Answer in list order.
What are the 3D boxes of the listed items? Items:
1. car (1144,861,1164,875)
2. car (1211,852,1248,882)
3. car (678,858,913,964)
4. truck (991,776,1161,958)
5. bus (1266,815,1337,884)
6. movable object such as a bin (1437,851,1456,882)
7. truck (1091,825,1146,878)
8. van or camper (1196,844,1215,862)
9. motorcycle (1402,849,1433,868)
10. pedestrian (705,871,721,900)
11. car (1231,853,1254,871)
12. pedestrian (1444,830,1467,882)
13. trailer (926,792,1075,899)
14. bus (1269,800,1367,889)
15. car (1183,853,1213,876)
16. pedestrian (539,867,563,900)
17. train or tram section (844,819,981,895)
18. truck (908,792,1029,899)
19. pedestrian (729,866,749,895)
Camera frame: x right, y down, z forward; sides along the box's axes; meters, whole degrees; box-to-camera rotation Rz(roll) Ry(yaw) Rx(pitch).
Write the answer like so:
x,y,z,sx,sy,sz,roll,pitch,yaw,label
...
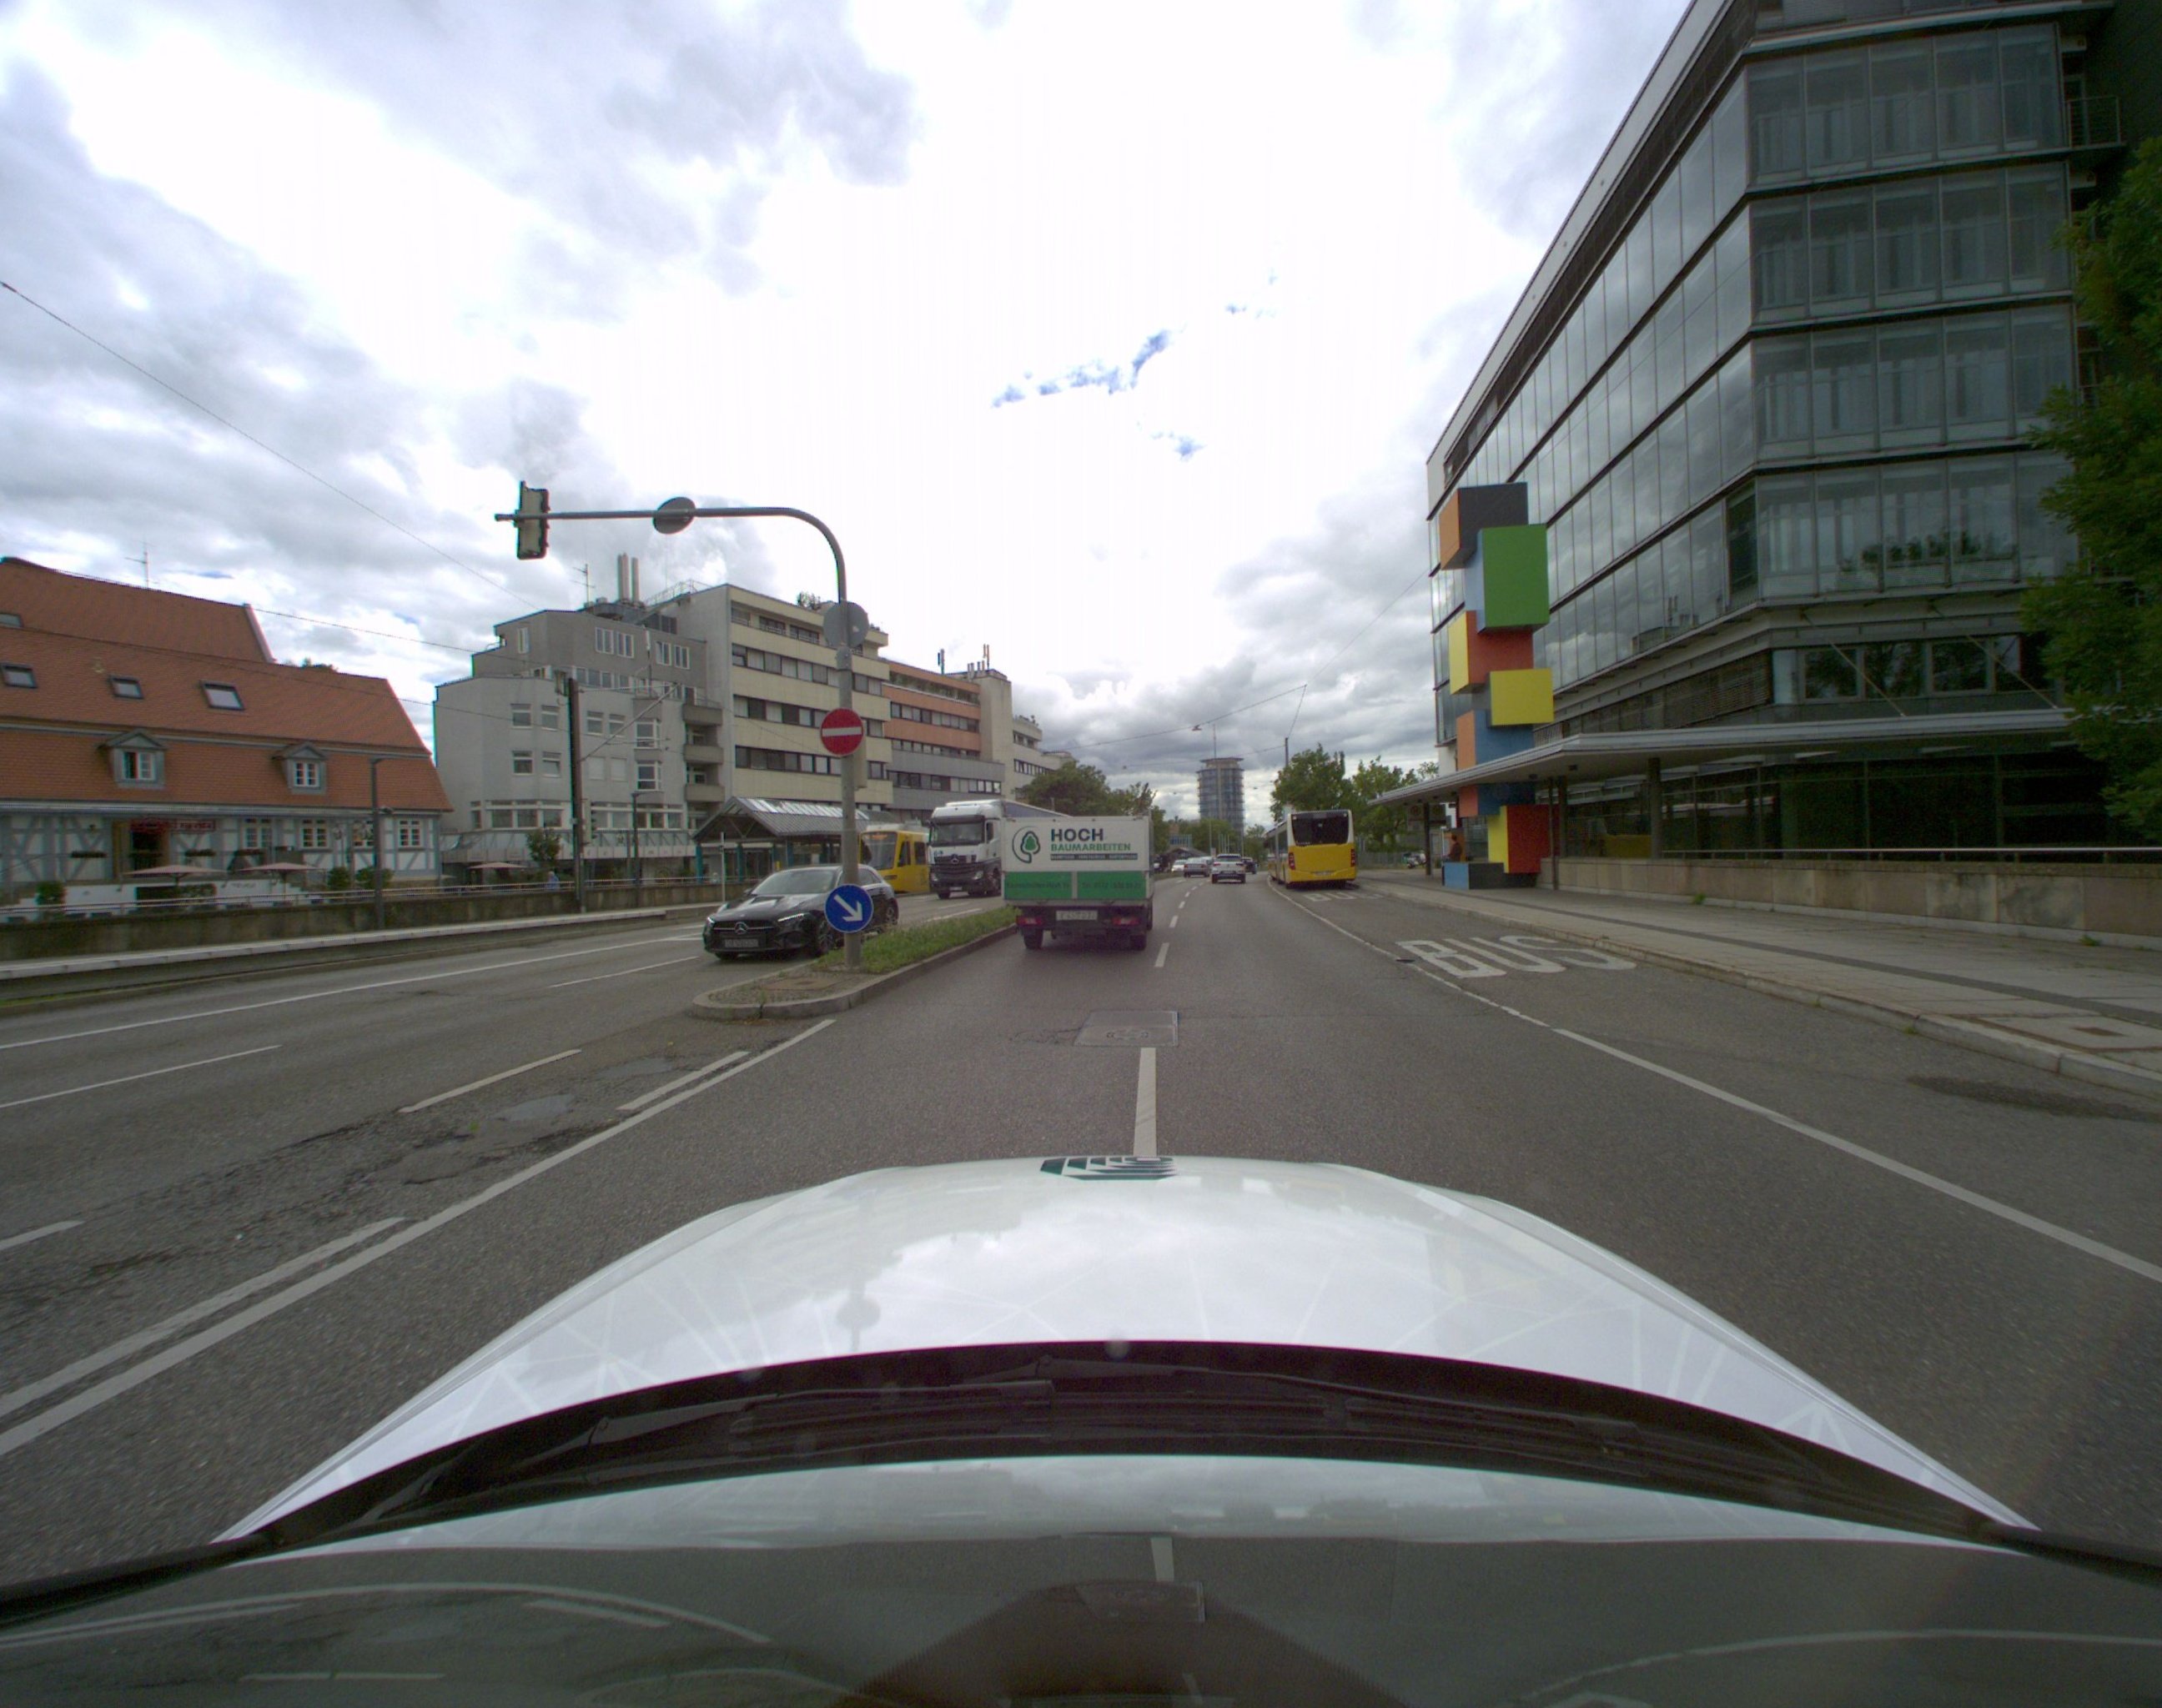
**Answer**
x,y,z,sx,sy,sz,roll,pitch,yaw,label
7.556,1.412,84.234,1.495,1.345,3.962,-4,-1,12,car
8.140,0.649,44.683,1.856,1.505,4.787,-2,0,10,car
-4.619,0.833,14.122,1.984,1.459,4.780,-2,0,5,car
0.232,0.194,15.128,2.459,2.611,6.557,-1,0,5,truck
11.633,-0.184,43.837,2.963,3.241,9.895,1,0,11,bus
12.336,0.410,27.491,0.417,1.029,0.534,-2,0,8,movable object such as a bin
3.227,-0.209,66.983,2.919,3.958,9.194,-2,0,12,truck
18.638,-0.106,122.051,1.979,2.598,6.140,-4,-1,15,van or camper
20.660,0.259,50.041,0.824,1.115,1.732,-2,0,-17,motorcycle
-21.006,1.784,46.480,0.647,1.583,0.601,-2,0,-2,pedestrian
14.398,0.670,72.830,1.856,1.505,4.787,-2,0,10,car
12.725,0.055,27.669,0.505,1.735,0.574,-2,-1,8,pedestrian
-3.371,-0.407,40.699,3.082,4.269,14.893,-2,0,11,trailer
9.992,-0.319,35.381,3.017,3.236,9.364,-3,-1,10,bus
8.432,0.745,58.390,1.856,1.505,4.787,-2,0,10,car
-25.945,1.432,39.893,0.643,1.583,0.704,-2,0,24,pedestrian
-8.837,0.124,45.093,2.739,3.585,12.042,-2,0,12,train or tram section
-4.586,-0.338,34.664,3.071,4.022,6.175,-2,0,11,truck
-20.780,1.586,49.475,0.804,1.735,0.654,-2,-1,13,pedestrian
